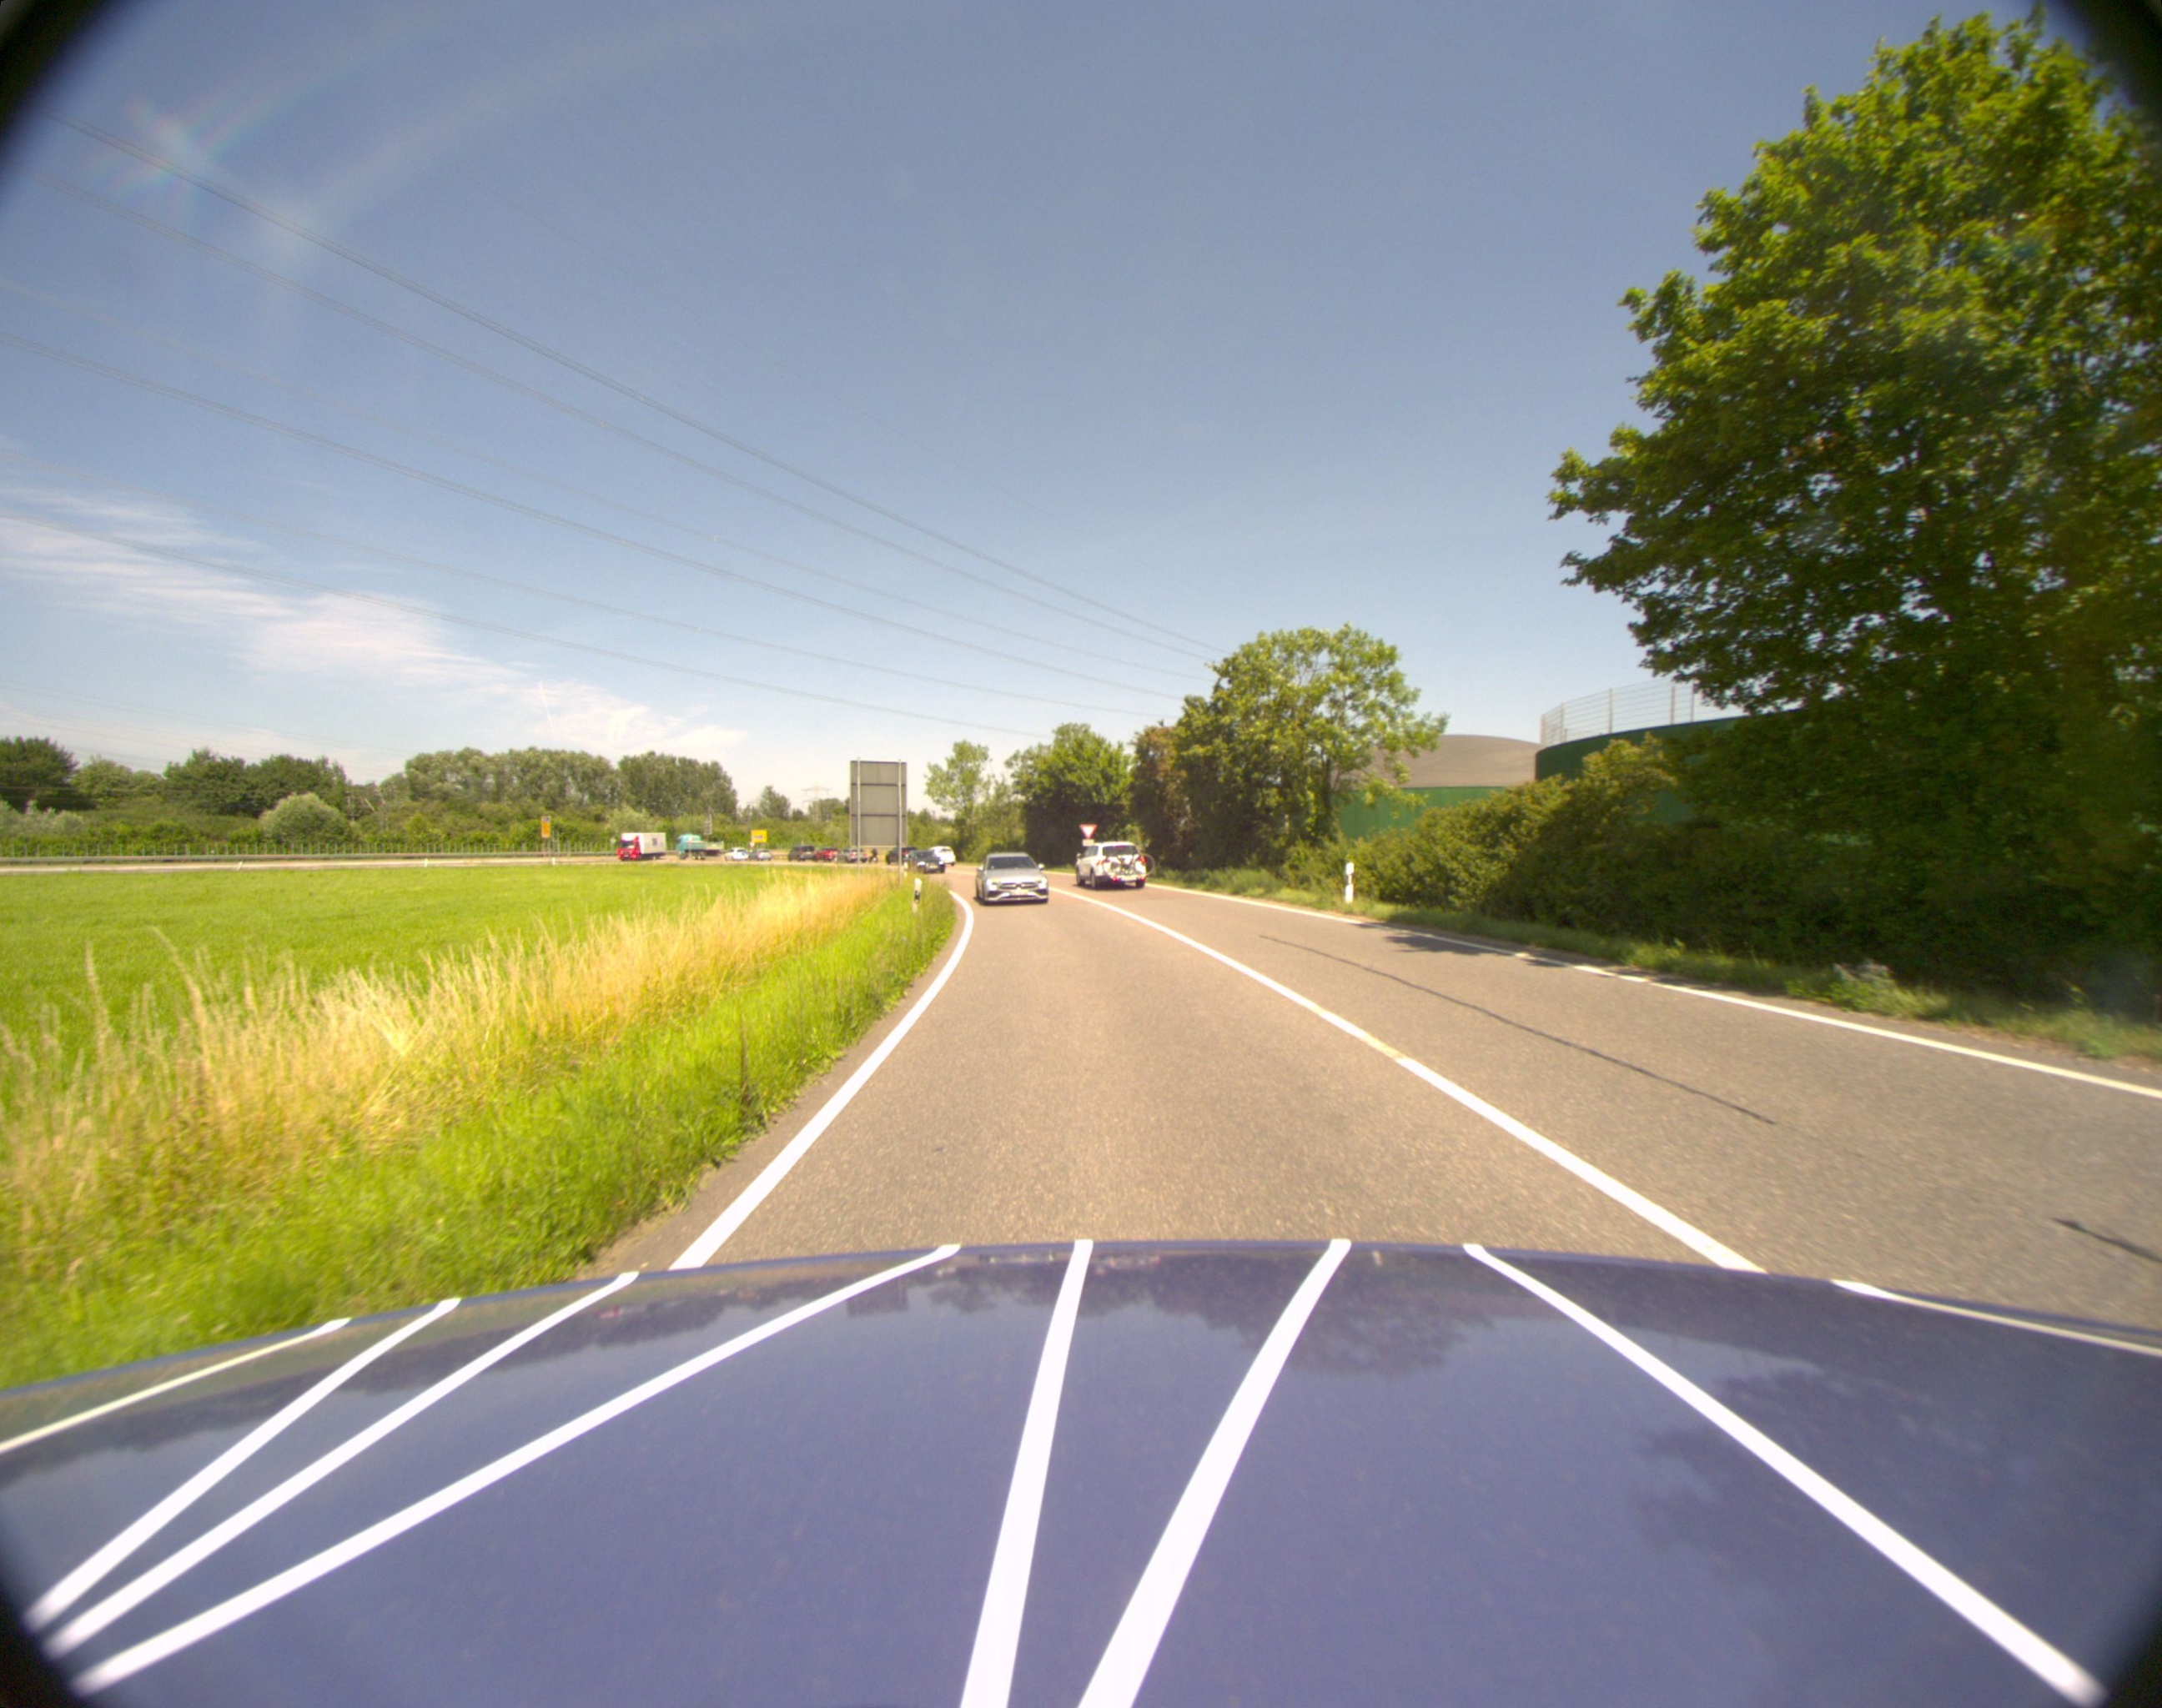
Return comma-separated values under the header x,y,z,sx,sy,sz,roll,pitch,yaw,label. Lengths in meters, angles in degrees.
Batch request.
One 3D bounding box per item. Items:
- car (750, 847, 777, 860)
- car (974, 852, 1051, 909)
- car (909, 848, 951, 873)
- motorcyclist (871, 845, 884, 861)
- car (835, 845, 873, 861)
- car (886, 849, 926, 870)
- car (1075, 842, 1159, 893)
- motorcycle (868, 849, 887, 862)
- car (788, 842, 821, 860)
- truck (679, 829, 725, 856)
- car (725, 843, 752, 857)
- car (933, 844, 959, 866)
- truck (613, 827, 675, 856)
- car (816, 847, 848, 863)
x,y,z,sx,sy,sz,roll,pitch,yaw,label
-38.620,-0.085,92.362,1.640,1.451,3.996,-2,2,-44,car
-2.117,0.698,22.570,1.826,1.478,4.144,-2,1,-11,car
-9.307,0.337,46.666,1.827,1.431,4.140,-1,1,-22,car
-19.054,-0.095,71.052,0.785,1.487,1.127,-2,3,-39,motorcyclist
-22.354,-0.129,74.834,1.850,1.452,4.795,-3,3,-39,car
-15.011,0.418,64.928,1.710,1.629,4.237,-4,3,-36,car
1.164,0.406,27.218,1.861,1.592,4.772,-3,1,-11,car
-19.060,0.106,71.086,0.785,1.117,2.422,-4,3,-39,motorcycle
-30.973,-0.357,84.992,1.935,1.823,4.425,-6,5,-41,car
-51.019,-1.540,102.136,7.587,3.452,2.616,0,1,39,truck
-43.733,-0.530,96.979,1.781,1.612,4.318,-4,3,-44,car
-10.428,0.046,58.512,1.542,1.435,3.601,-3,3,-16,car
-58.383,-1.715,101.843,2.724,3.560,9.549,-1,3,-1,truck
-26.221,0.062,79.867,1.808,1.507,4.379,-1,2,-39,car
